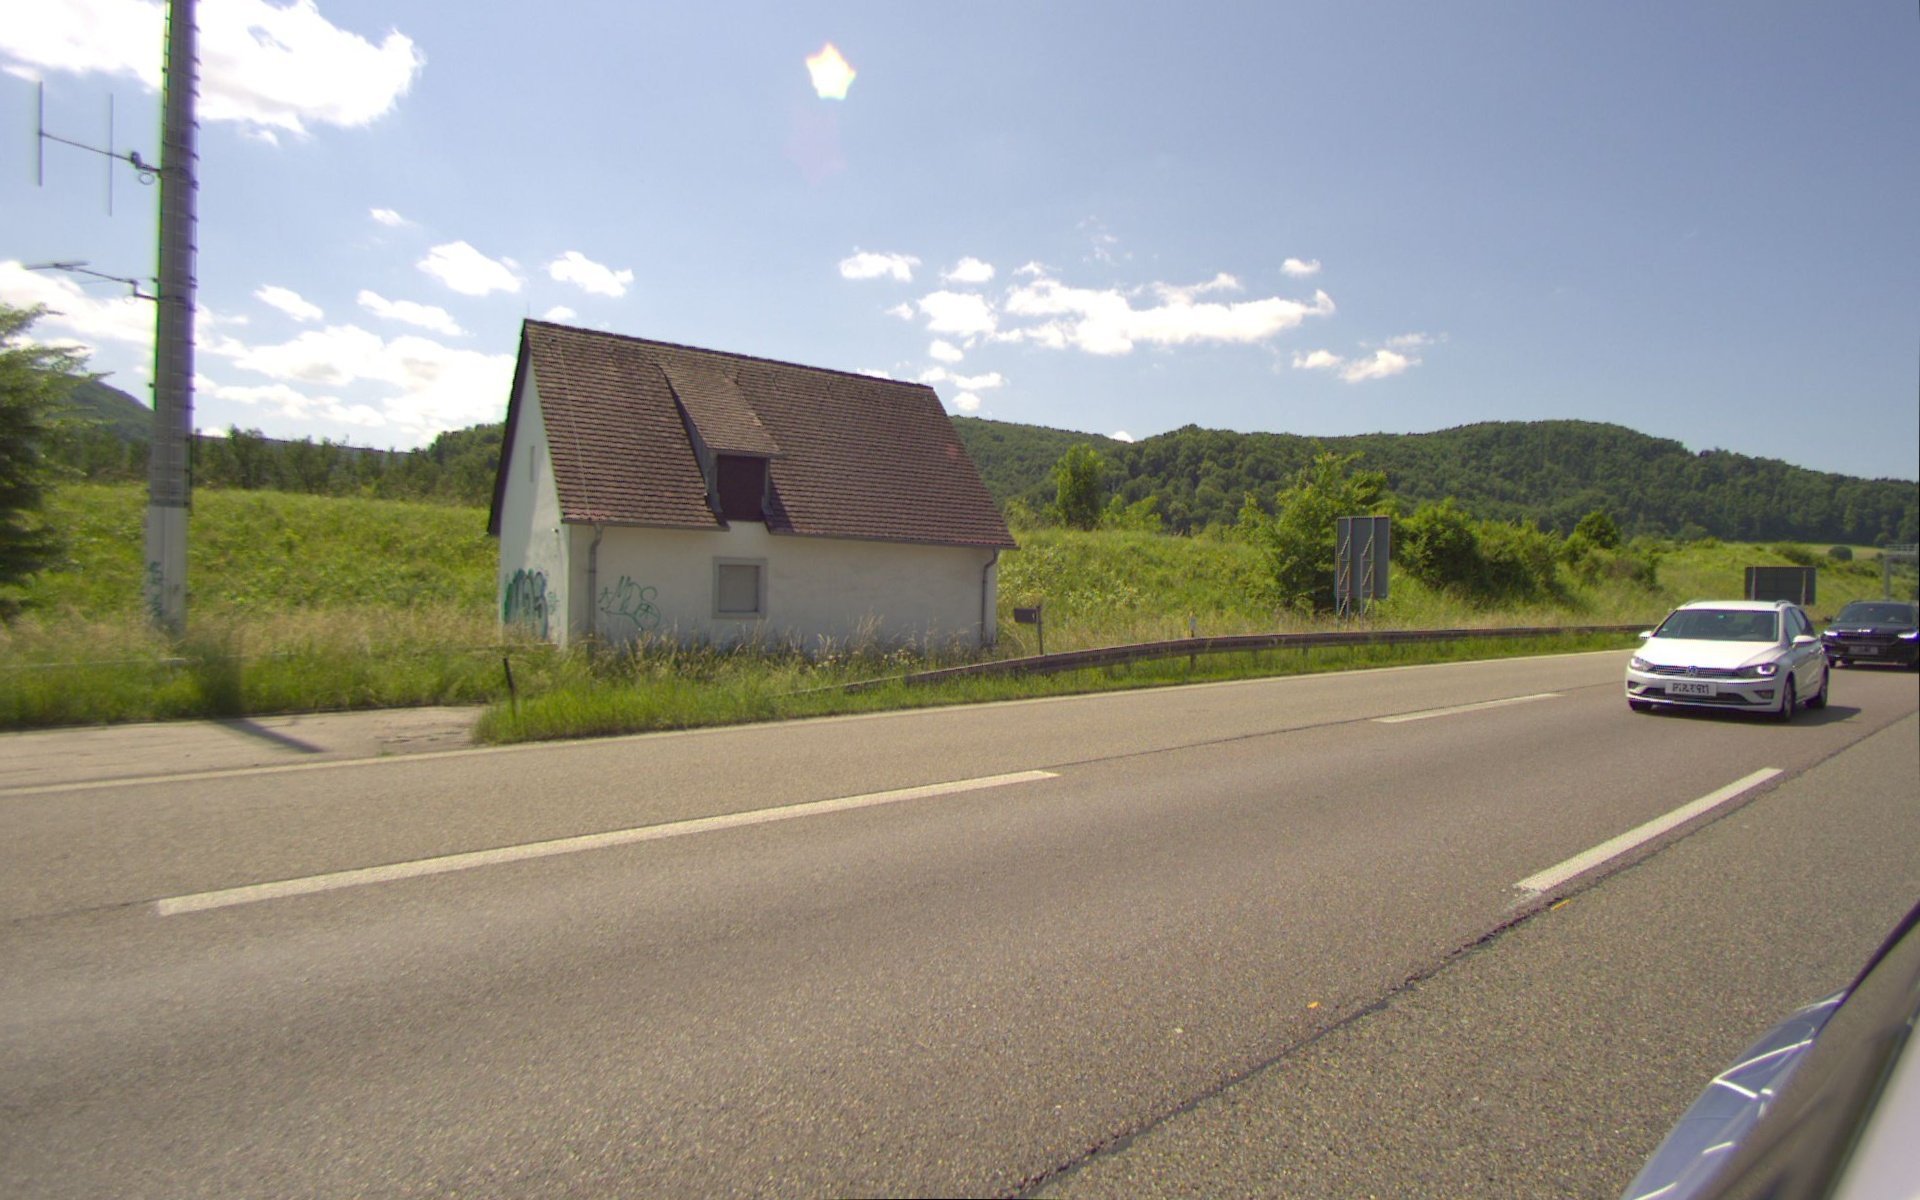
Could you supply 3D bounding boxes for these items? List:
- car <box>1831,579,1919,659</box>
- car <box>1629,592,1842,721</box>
[{"bbox_3d":[23.010,0.448,24.766,4.096,1.794,1.893,1,1,-40],"label":"car"},{"bbox_3d":[10.999,0.681,14.256,3.986,1.560,1.774,0,0,-43],"label":"car"}]
